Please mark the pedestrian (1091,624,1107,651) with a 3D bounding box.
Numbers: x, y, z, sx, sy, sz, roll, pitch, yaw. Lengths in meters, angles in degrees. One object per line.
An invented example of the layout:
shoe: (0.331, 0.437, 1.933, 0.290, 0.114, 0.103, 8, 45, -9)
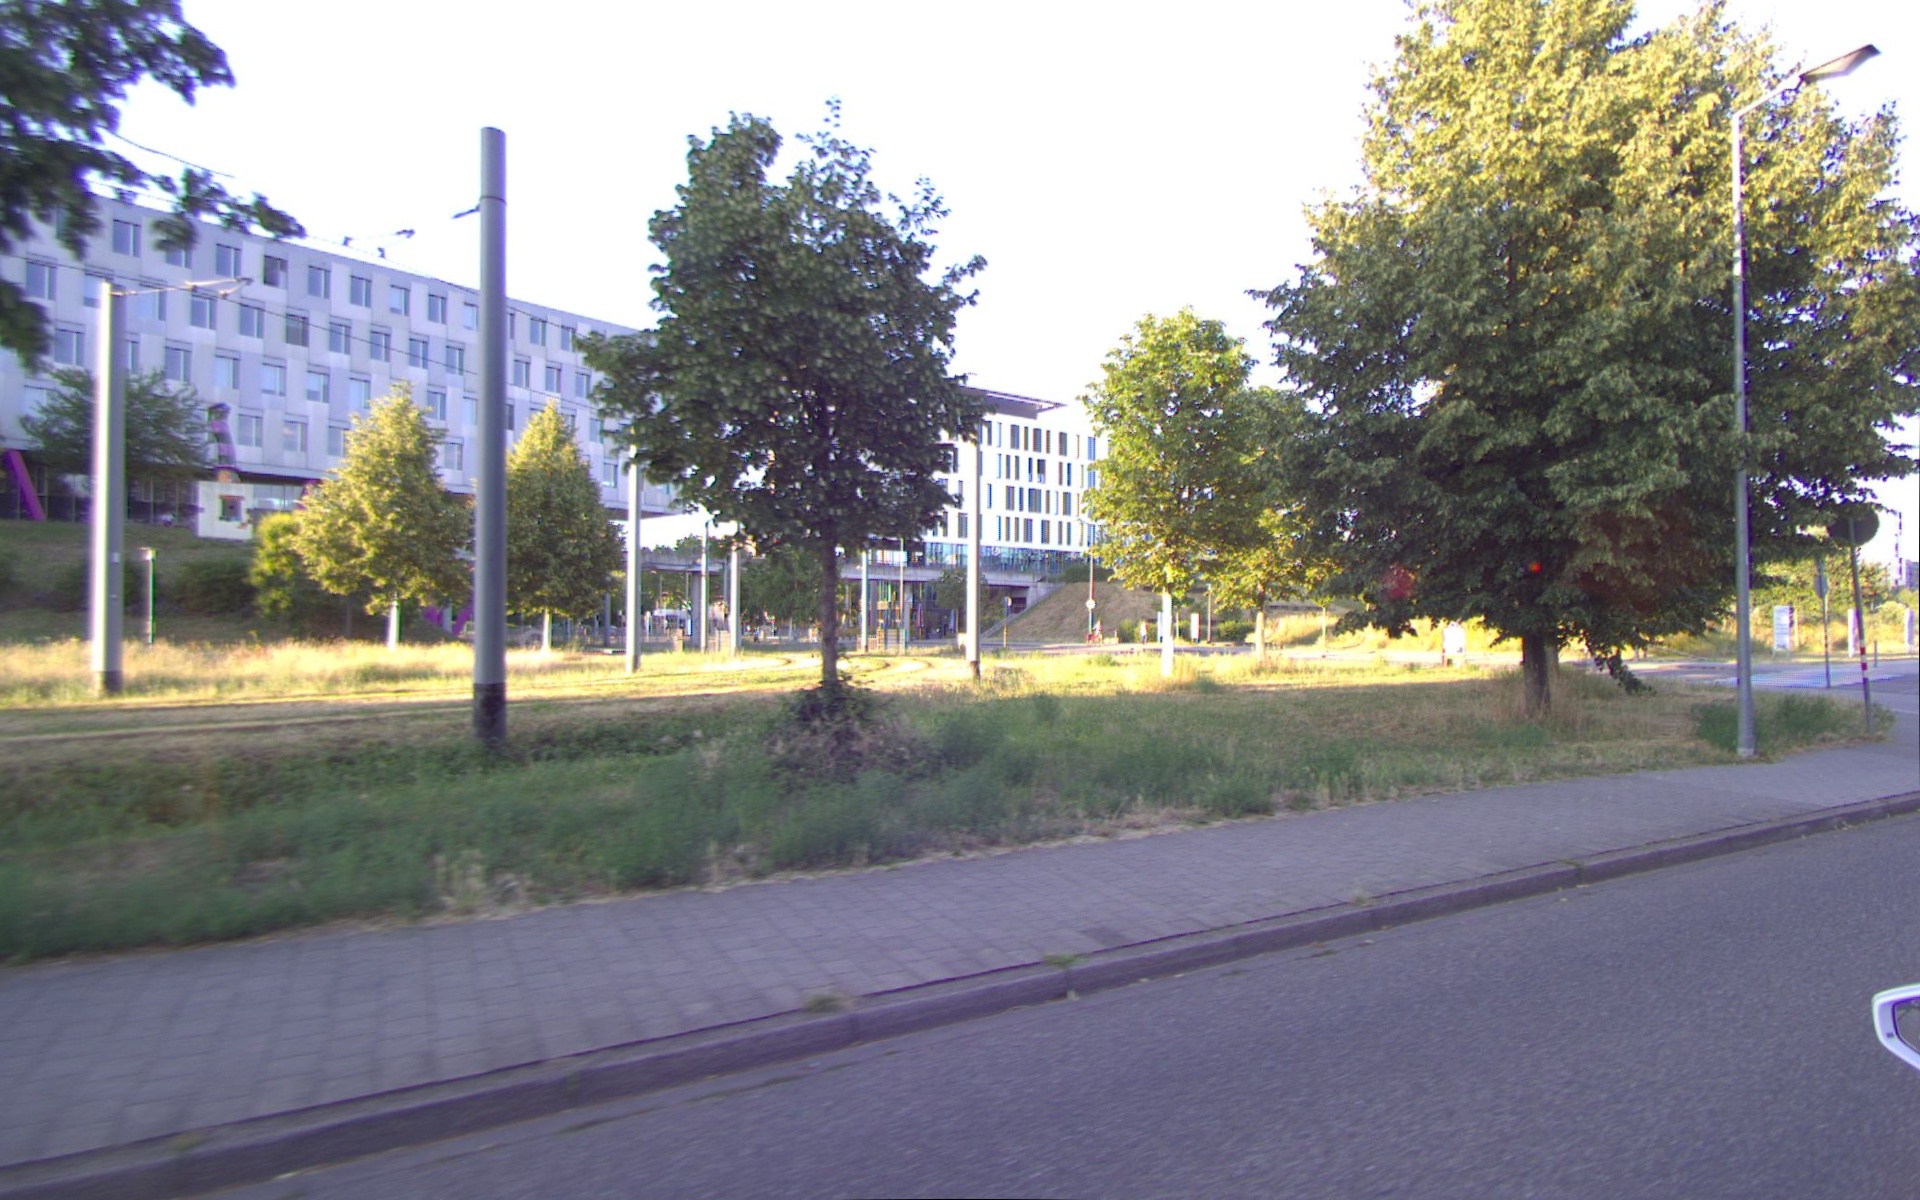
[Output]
pedestrian: (9.475, 2.551, 68.407, 0.803, 1.810, 0.784, 1, -1, -27)
